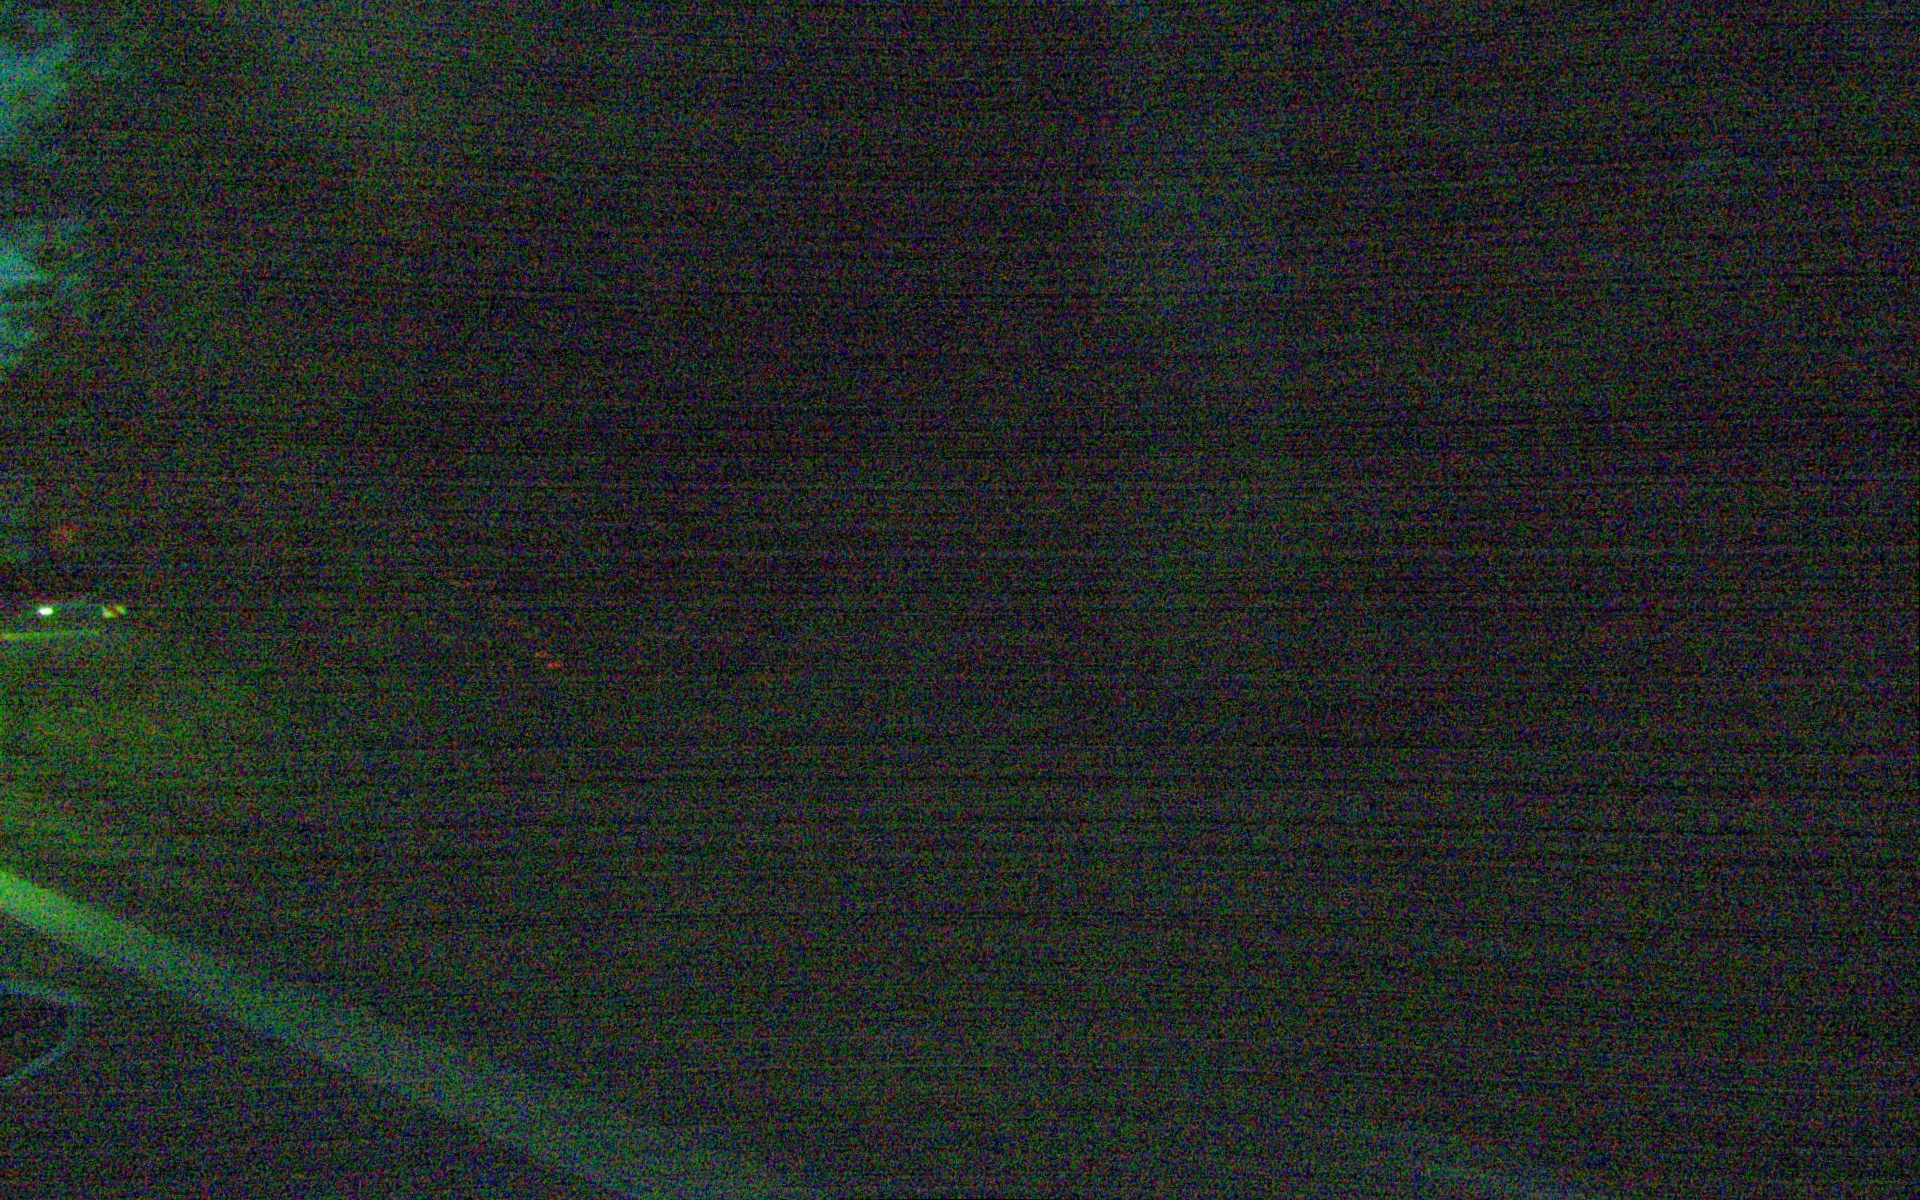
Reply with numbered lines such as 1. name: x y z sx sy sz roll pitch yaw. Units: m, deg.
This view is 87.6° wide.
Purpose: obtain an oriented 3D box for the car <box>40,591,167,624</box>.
1. car: -45.781 0.403 53.670 1.964 1.704 4.866 0 -1 18
